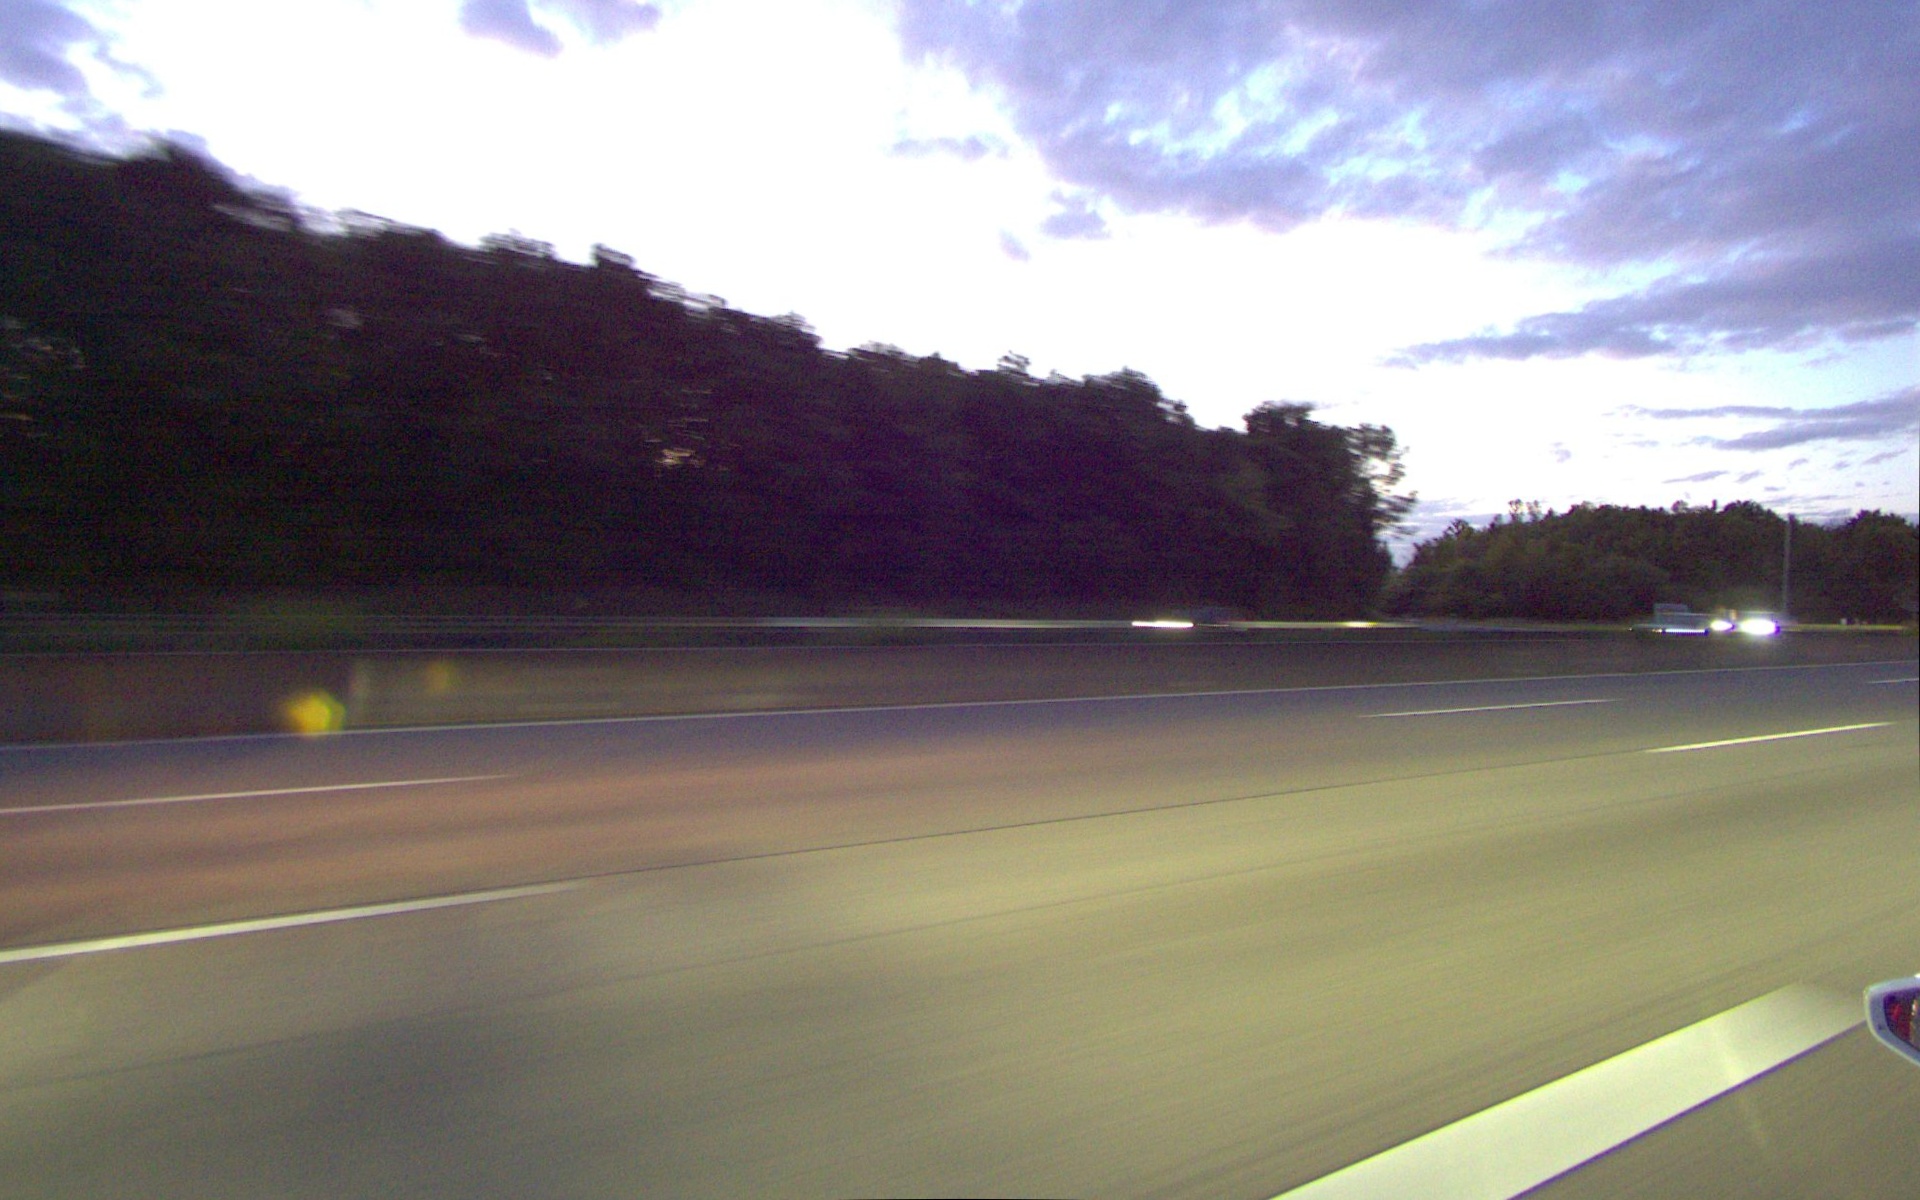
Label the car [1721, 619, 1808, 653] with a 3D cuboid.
[{"bbox_3d":[42.225,1.890,52.692,4.953,1.687,1.983,1,0,-31],"label":"car"}]

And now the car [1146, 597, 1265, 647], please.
[{"bbox_3d":[10.511,0.942,42.896,4.952,2.040,1.984,1,0,-31],"label":"car"}]

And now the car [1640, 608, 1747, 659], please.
[{"bbox_3d":[30.755,1.388,42.089,4.435,2.040,1.984,1,0,-30],"label":"car"}]
